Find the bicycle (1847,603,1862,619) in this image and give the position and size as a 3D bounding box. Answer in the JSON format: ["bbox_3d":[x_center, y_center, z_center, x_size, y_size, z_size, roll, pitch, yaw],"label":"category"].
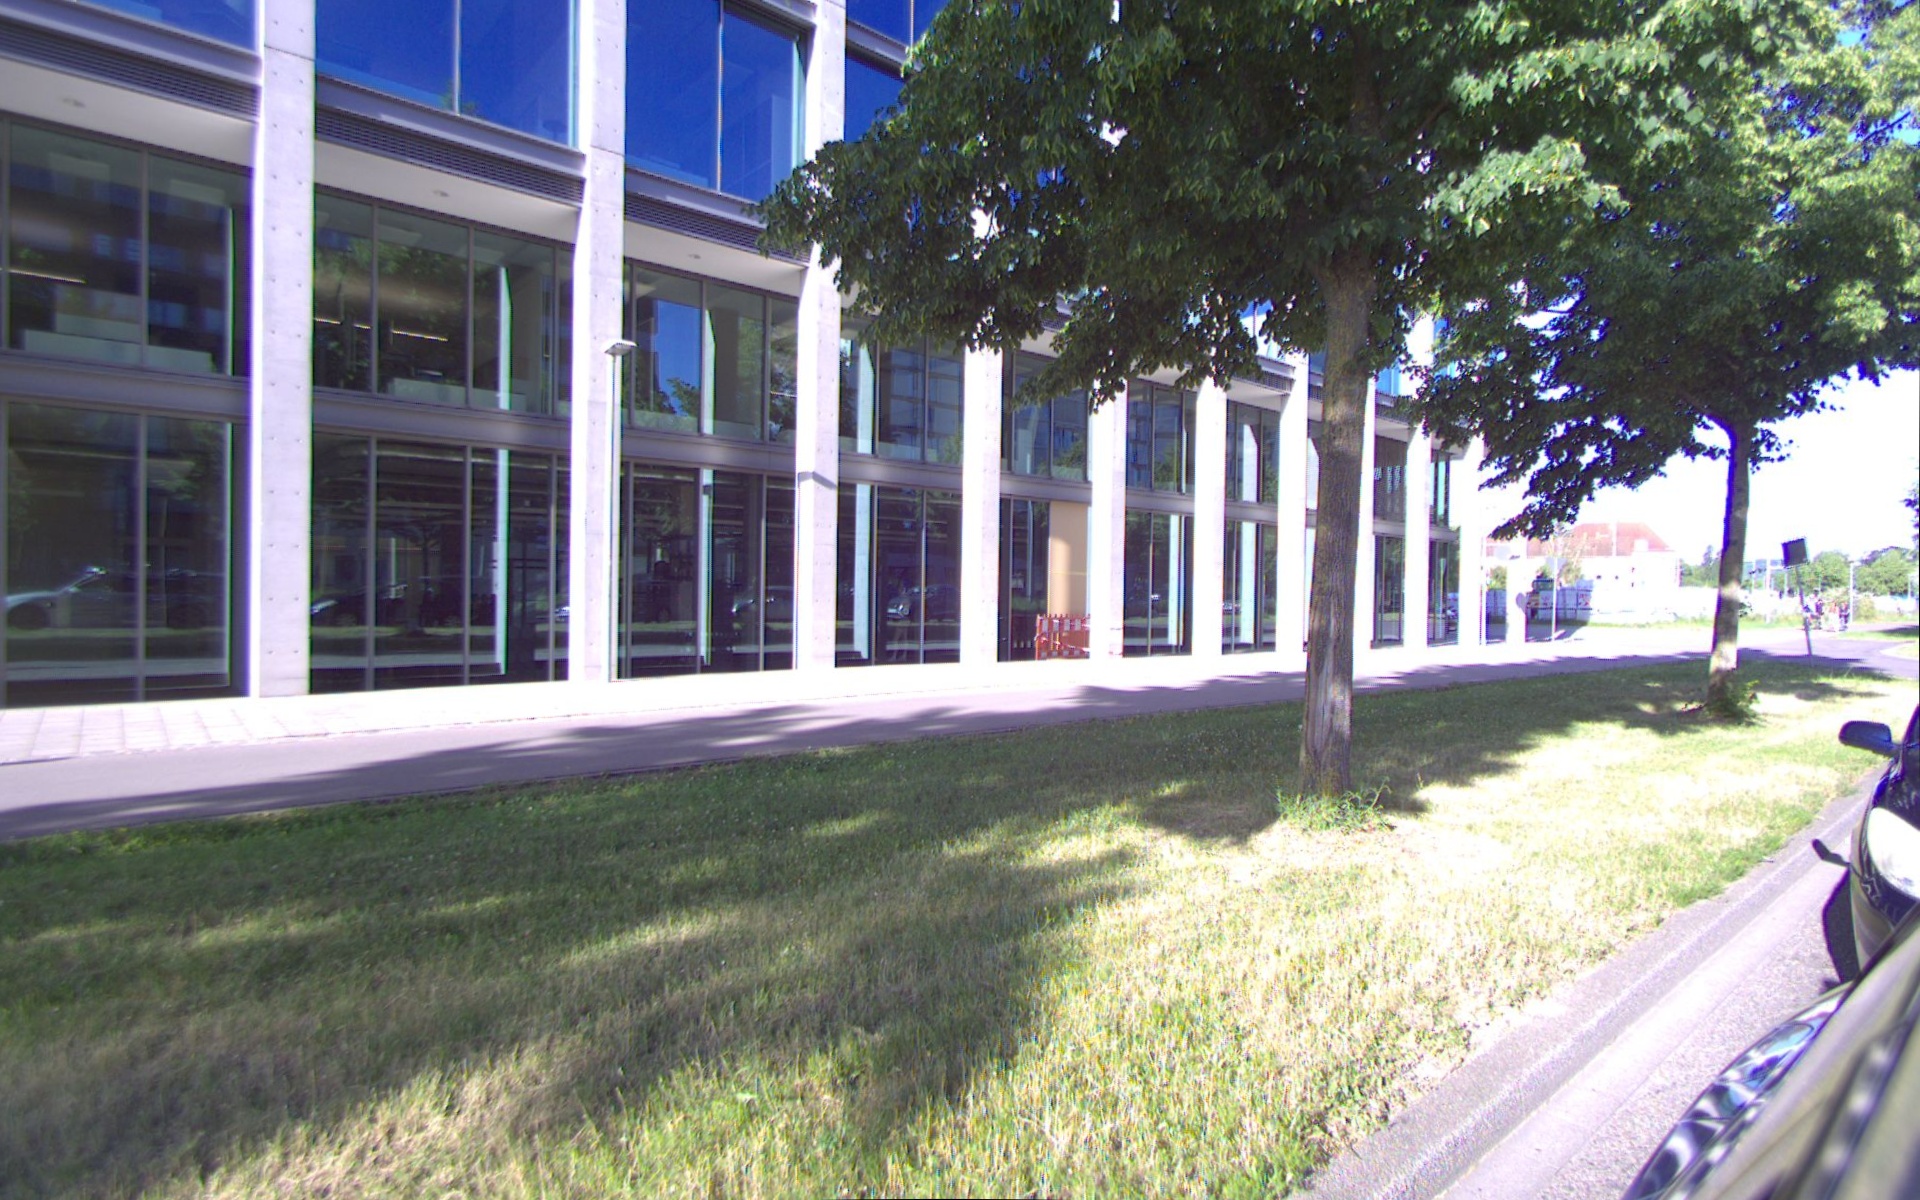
[{"bbox_3d":[49.687,0.605,56.213,1.321,0.828,0.464,-1,0,-40],"label":"bicycle"}]

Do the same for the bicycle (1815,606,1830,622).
[{"bbox_3d":[46.045,0.719,54.010,1.296,0.828,0.415,-1,0,-40],"label":"bicycle"}]

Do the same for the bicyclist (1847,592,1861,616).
[{"bbox_3d":[49.640,0.211,56.181,0.512,1.305,0.534,0,0,-40],"label":"bicyclist"}]

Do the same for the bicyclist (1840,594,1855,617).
[{"bbox_3d":[46.712,0.291,53.258,0.498,1.232,0.534,0,0,-40],"label":"bicyclist"}]

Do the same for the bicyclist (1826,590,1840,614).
[{"bbox_3d":[49.097,0.109,56.932,0.449,1.305,0.534,0,0,-40],"label":"bicyclist"}]

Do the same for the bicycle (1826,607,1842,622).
[{"bbox_3d":[49.167,0.831,56.937,1.321,0.828,0.464,-1,0,-40],"label":"bicycle"}]

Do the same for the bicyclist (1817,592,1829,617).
[{"bbox_3d":[46.146,0.250,54.107,0.410,1.305,0.448,0,0,-40],"label":"bicyclist"}]

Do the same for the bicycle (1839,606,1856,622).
[{"bbox_3d":[46.707,0.722,53.251,1.321,0.828,0.464,-1,0,-40],"label":"bicycle"}]

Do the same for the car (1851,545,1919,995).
[{"bbox_3d":[5.125,0.591,4.179,3.719,1.541,1.685,0,1,-41],"label":"car"}]
